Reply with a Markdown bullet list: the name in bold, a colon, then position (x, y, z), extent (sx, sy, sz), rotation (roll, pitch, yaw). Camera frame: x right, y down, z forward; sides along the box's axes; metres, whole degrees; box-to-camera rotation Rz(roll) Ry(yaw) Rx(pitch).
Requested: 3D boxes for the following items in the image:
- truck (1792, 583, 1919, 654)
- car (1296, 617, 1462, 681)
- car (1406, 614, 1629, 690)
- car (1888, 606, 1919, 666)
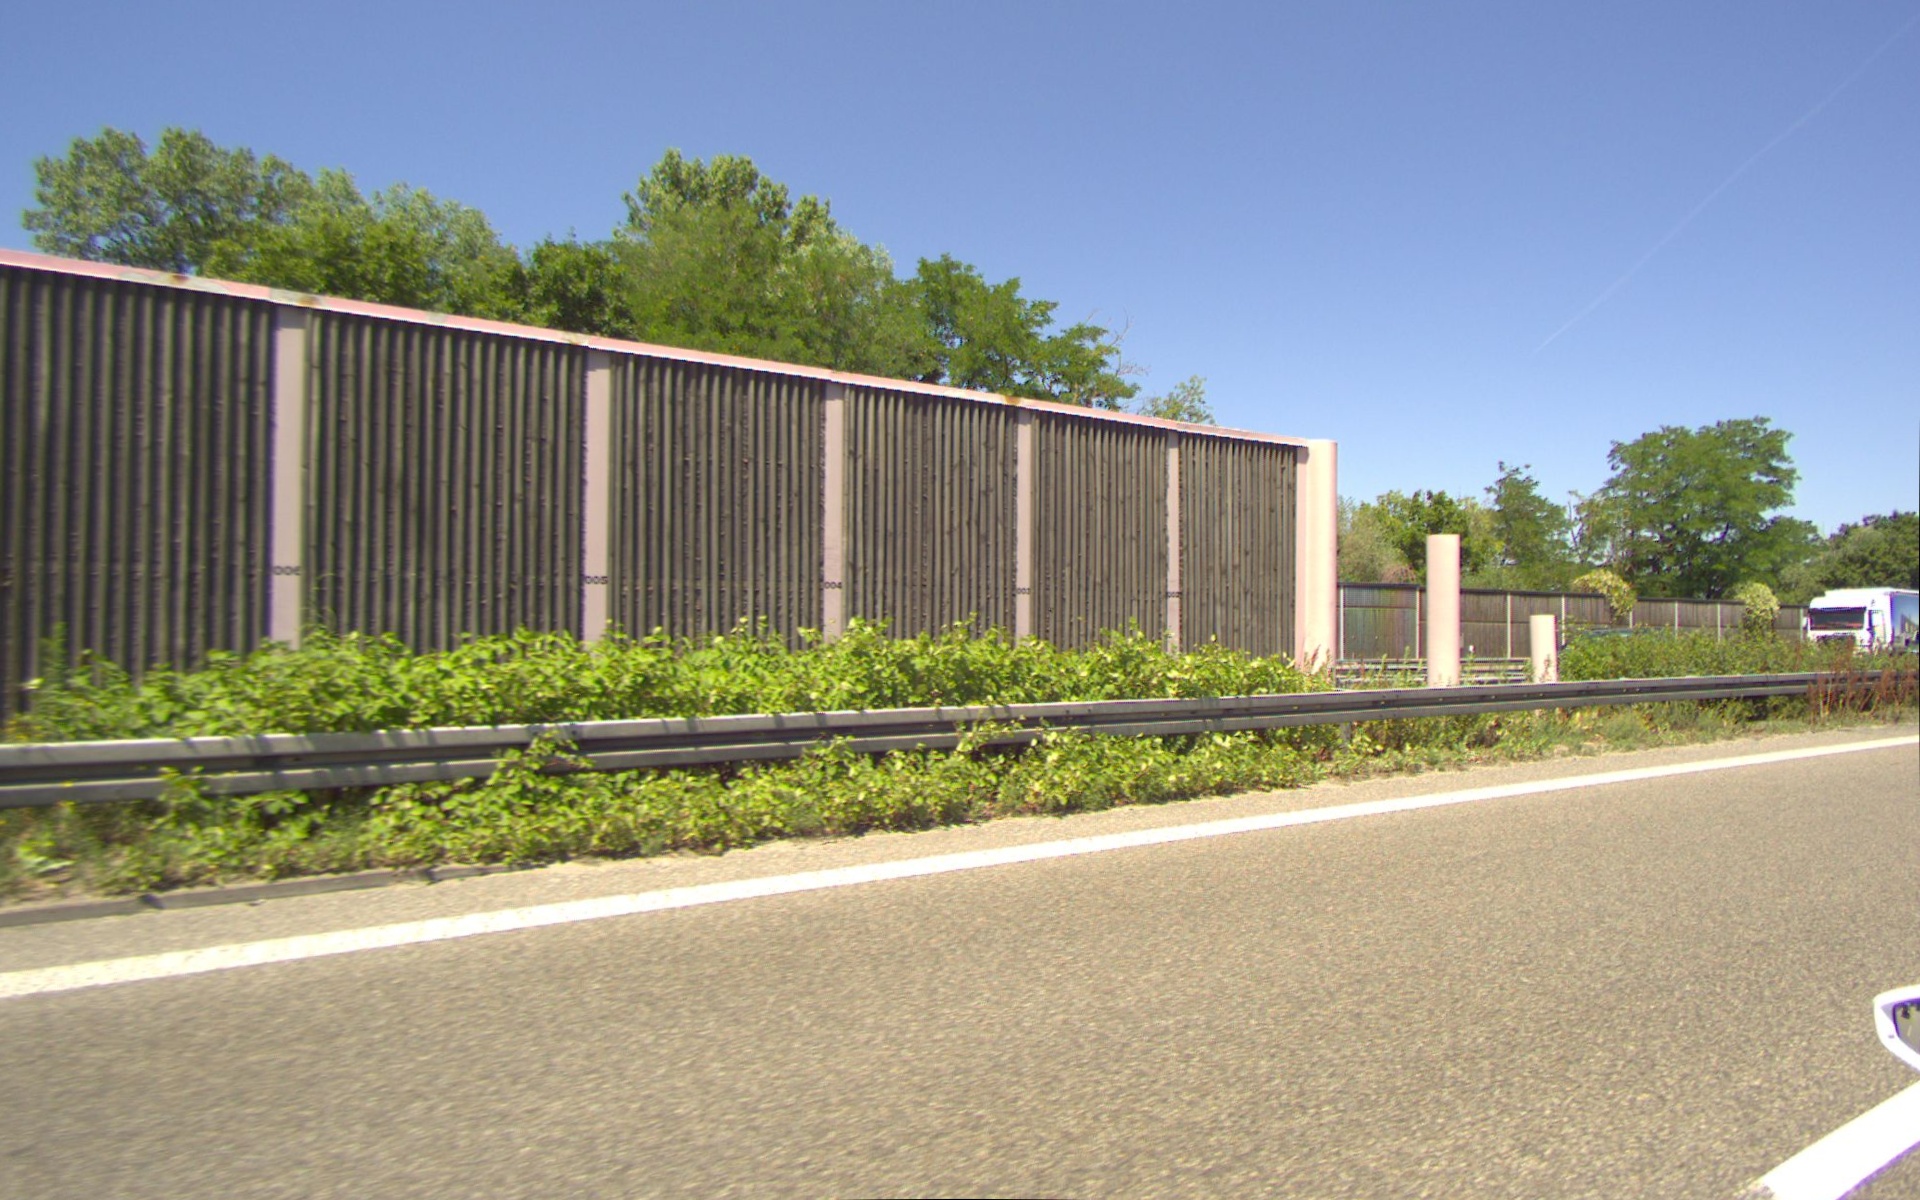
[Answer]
- **truck**: position (49.437, 0.967, 53.105), extent (16.802, 3.386, 2.824), rotation (1, 0, -30)
- **car**: position (12.844, 1.448, 30.745), extent (5.078, 1.784, 2.081), rotation (1, -1, -31)
- **car**: position (12.172, 1.078, 21.824), extent (5.209, 1.474, 1.881), rotation (1, -1, -30)
- **car**: position (46.133, 1.717, 46.563), extent (7.494, 2.598, 2.304), rotation (1, 3, -30)
